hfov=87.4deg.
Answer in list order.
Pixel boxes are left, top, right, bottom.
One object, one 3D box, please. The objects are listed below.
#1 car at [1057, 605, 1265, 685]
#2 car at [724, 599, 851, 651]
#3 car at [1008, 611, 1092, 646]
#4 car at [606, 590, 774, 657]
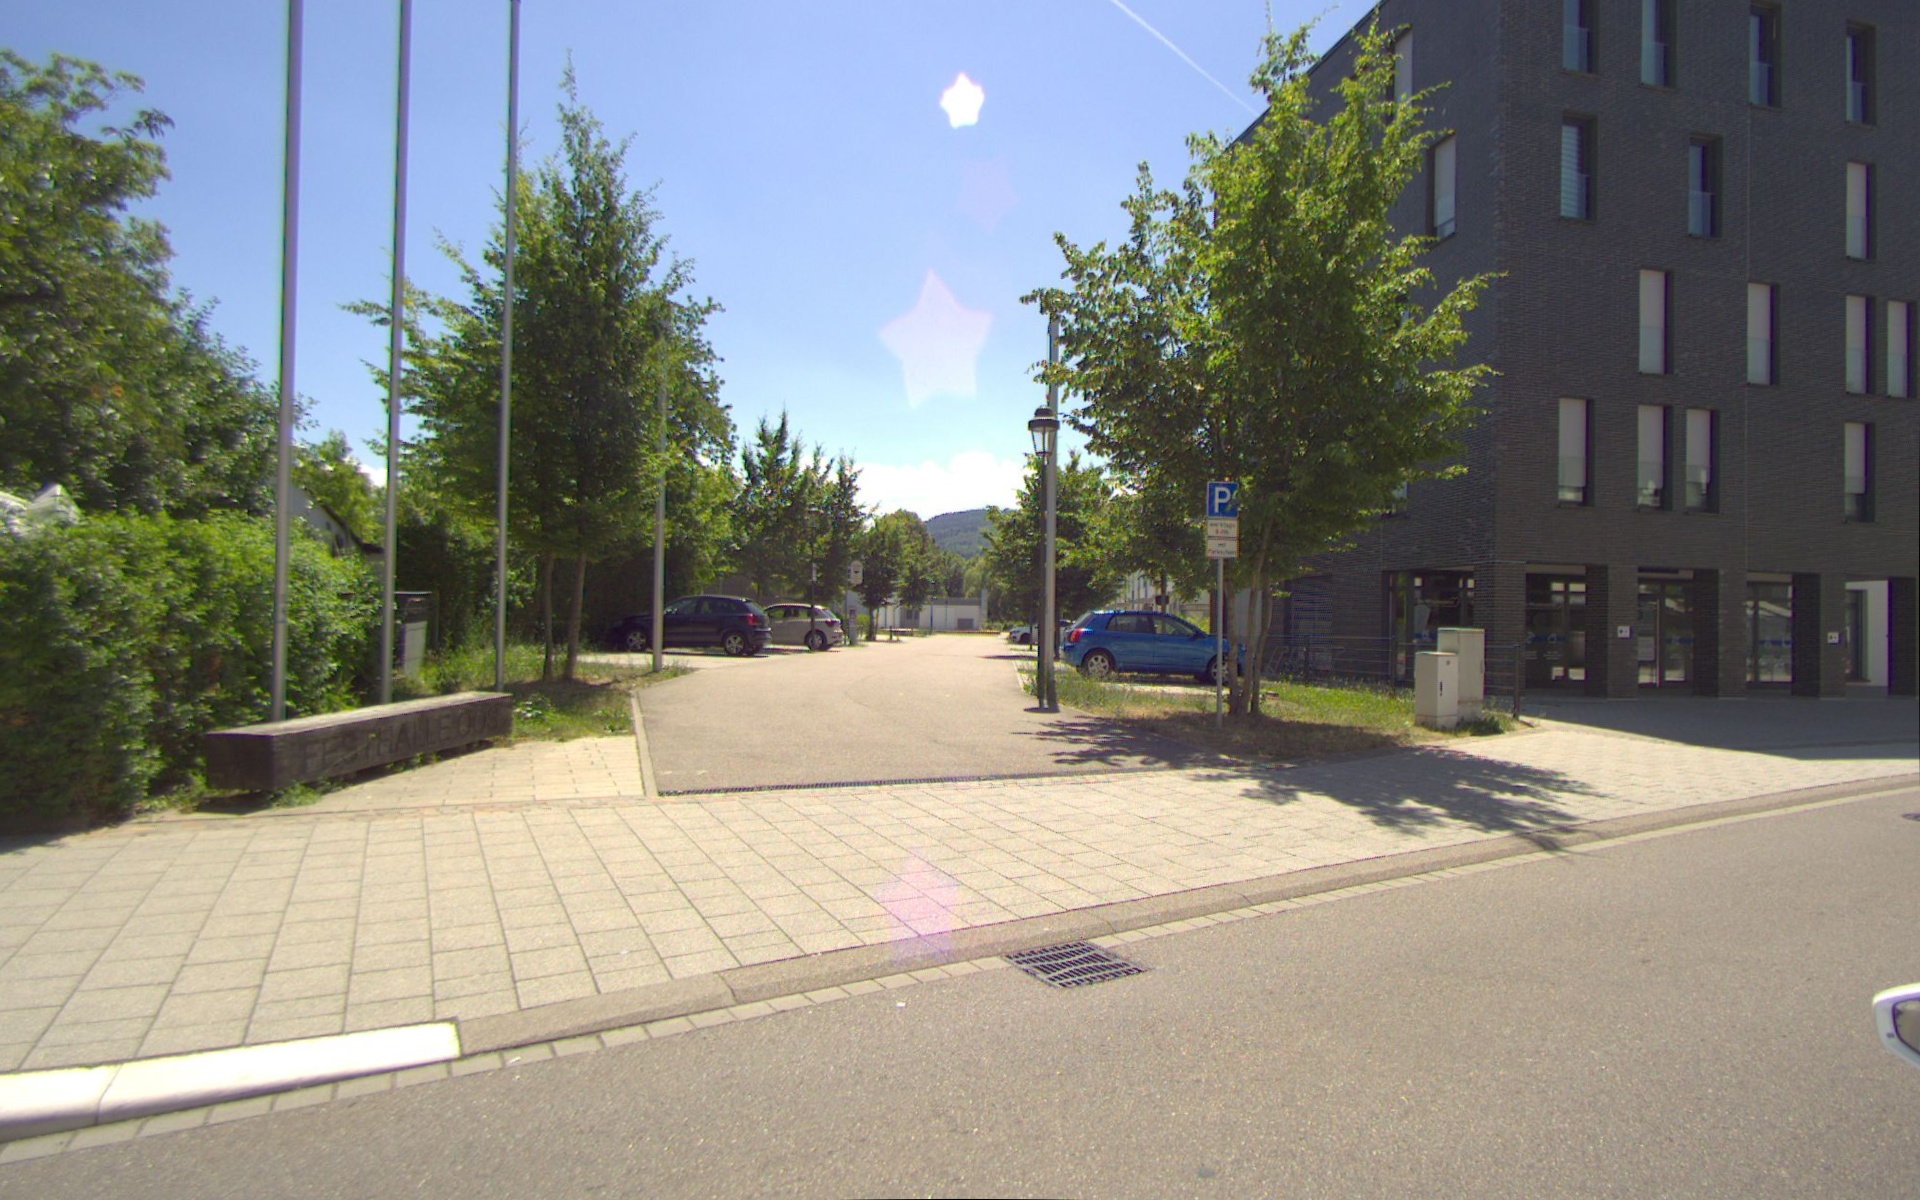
[{"bbox_3d":[4.145,0.927,21.123,3.999,1.505,1.700,2,-2,0],"label":"car"},{"bbox_3d":[-5.444,0.789,31.986,3.692,1.511,1.692,2,0,3],"label":"car"},{"bbox_3d":[5.202,1.661,58.433,4.689,1.887,2.000,2,-1,0],"label":"car"},{"bbox_3d":[-6.620,0.564,24.906,3.694,1.511,1.690,2,0,-3],"label":"car"}]
